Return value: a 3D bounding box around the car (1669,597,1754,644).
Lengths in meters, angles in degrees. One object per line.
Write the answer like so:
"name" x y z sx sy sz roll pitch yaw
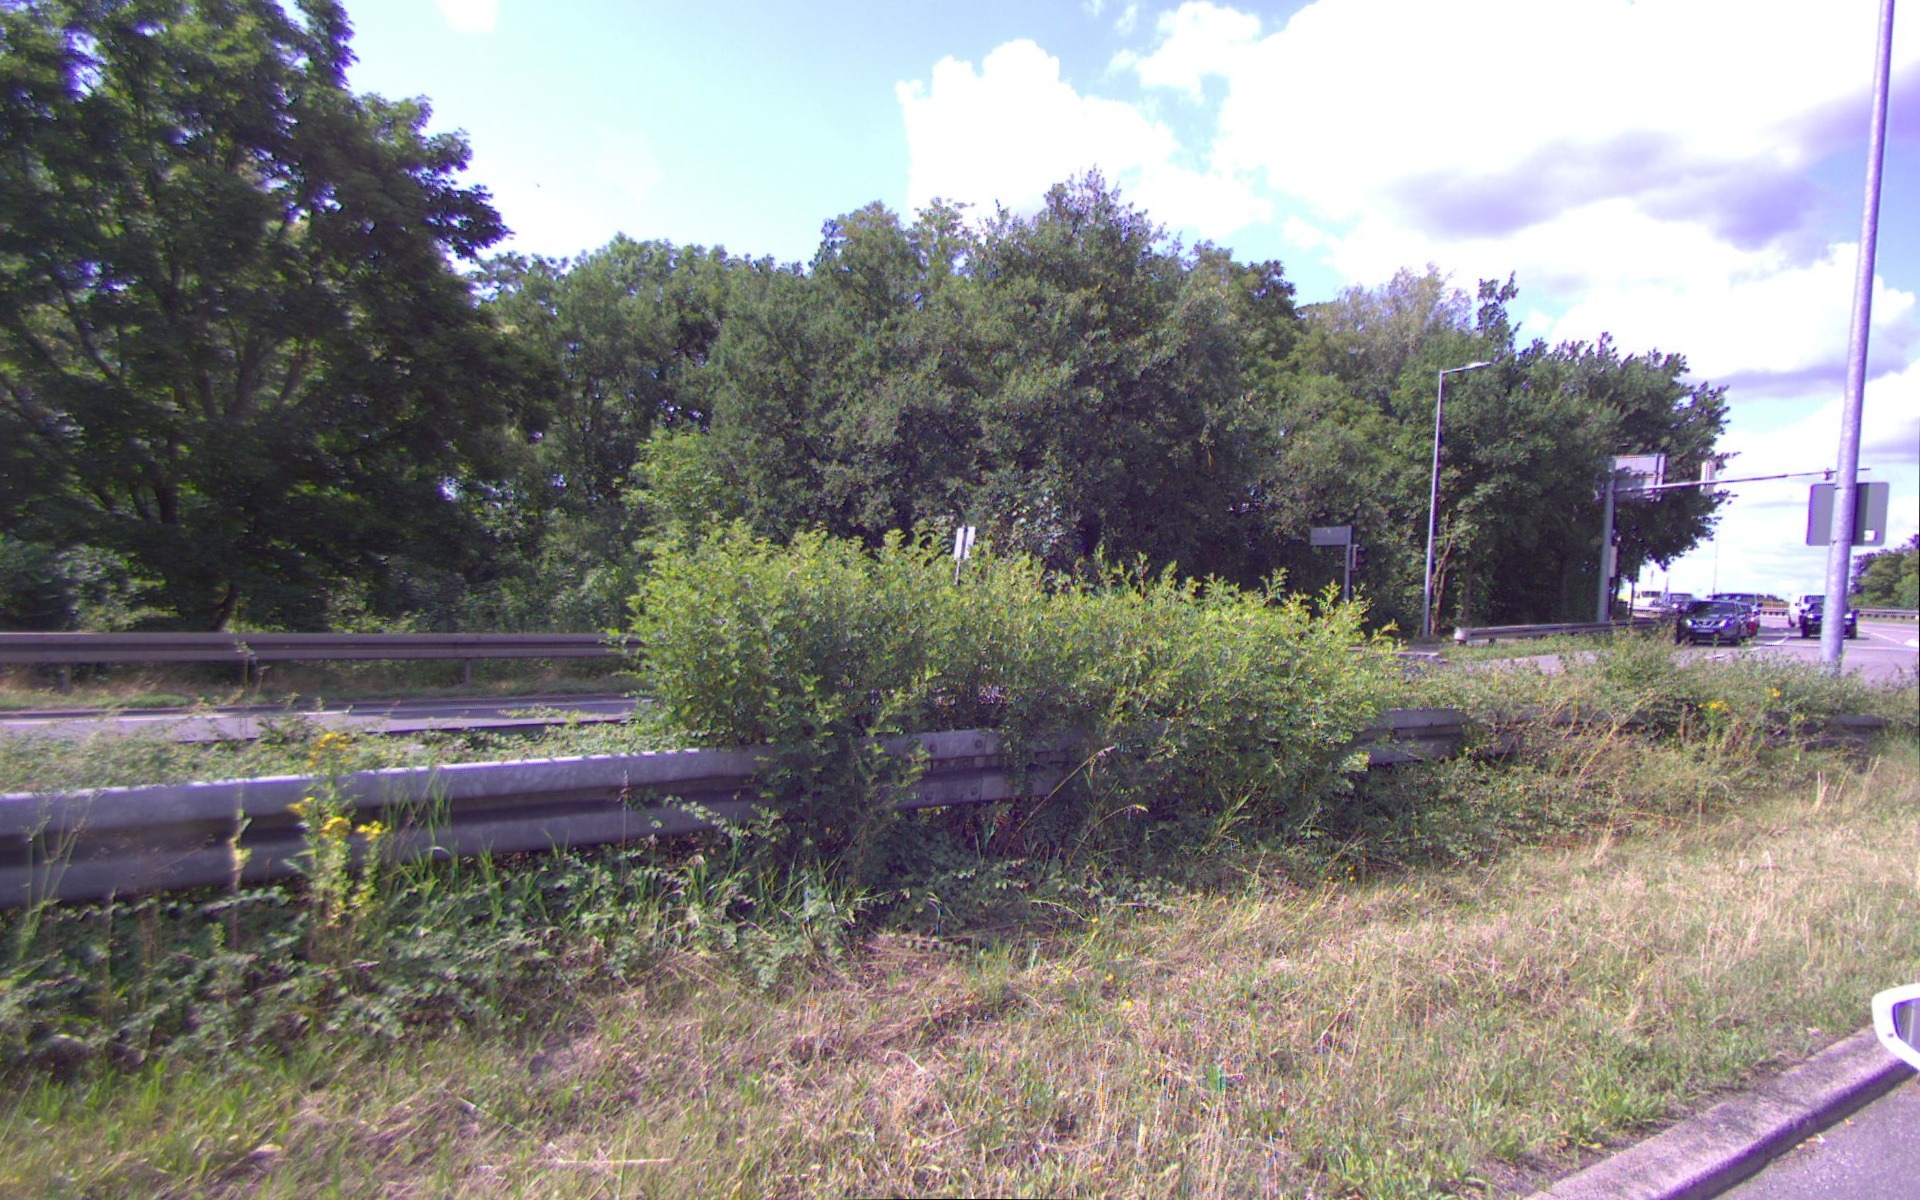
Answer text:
"car" 27.455 0.747 36.648 4.250 1.607 1.695 1 -1 -42

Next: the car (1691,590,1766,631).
"car" 39.697 0.562 52.014 1.962 2.040 5.132 0 -1 24

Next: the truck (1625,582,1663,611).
"truck" 64.441 -0.359 94.590 1.972 2.656 6.066 0 1 44

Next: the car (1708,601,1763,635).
"car" 34.353 0.773 44.468 1.564 1.451 3.977 0 0 43

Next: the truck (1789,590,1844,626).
"truck" 48.334 0.425 56.772 1.935 1.939 5.350 1 1 36

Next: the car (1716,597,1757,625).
"car" 44.813 0.626 58.024 1.710 1.541 4.053 0 0 36

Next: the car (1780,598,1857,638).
"car" 36.451 0.713 42.746 1.672 1.578 3.816 1 1 28
